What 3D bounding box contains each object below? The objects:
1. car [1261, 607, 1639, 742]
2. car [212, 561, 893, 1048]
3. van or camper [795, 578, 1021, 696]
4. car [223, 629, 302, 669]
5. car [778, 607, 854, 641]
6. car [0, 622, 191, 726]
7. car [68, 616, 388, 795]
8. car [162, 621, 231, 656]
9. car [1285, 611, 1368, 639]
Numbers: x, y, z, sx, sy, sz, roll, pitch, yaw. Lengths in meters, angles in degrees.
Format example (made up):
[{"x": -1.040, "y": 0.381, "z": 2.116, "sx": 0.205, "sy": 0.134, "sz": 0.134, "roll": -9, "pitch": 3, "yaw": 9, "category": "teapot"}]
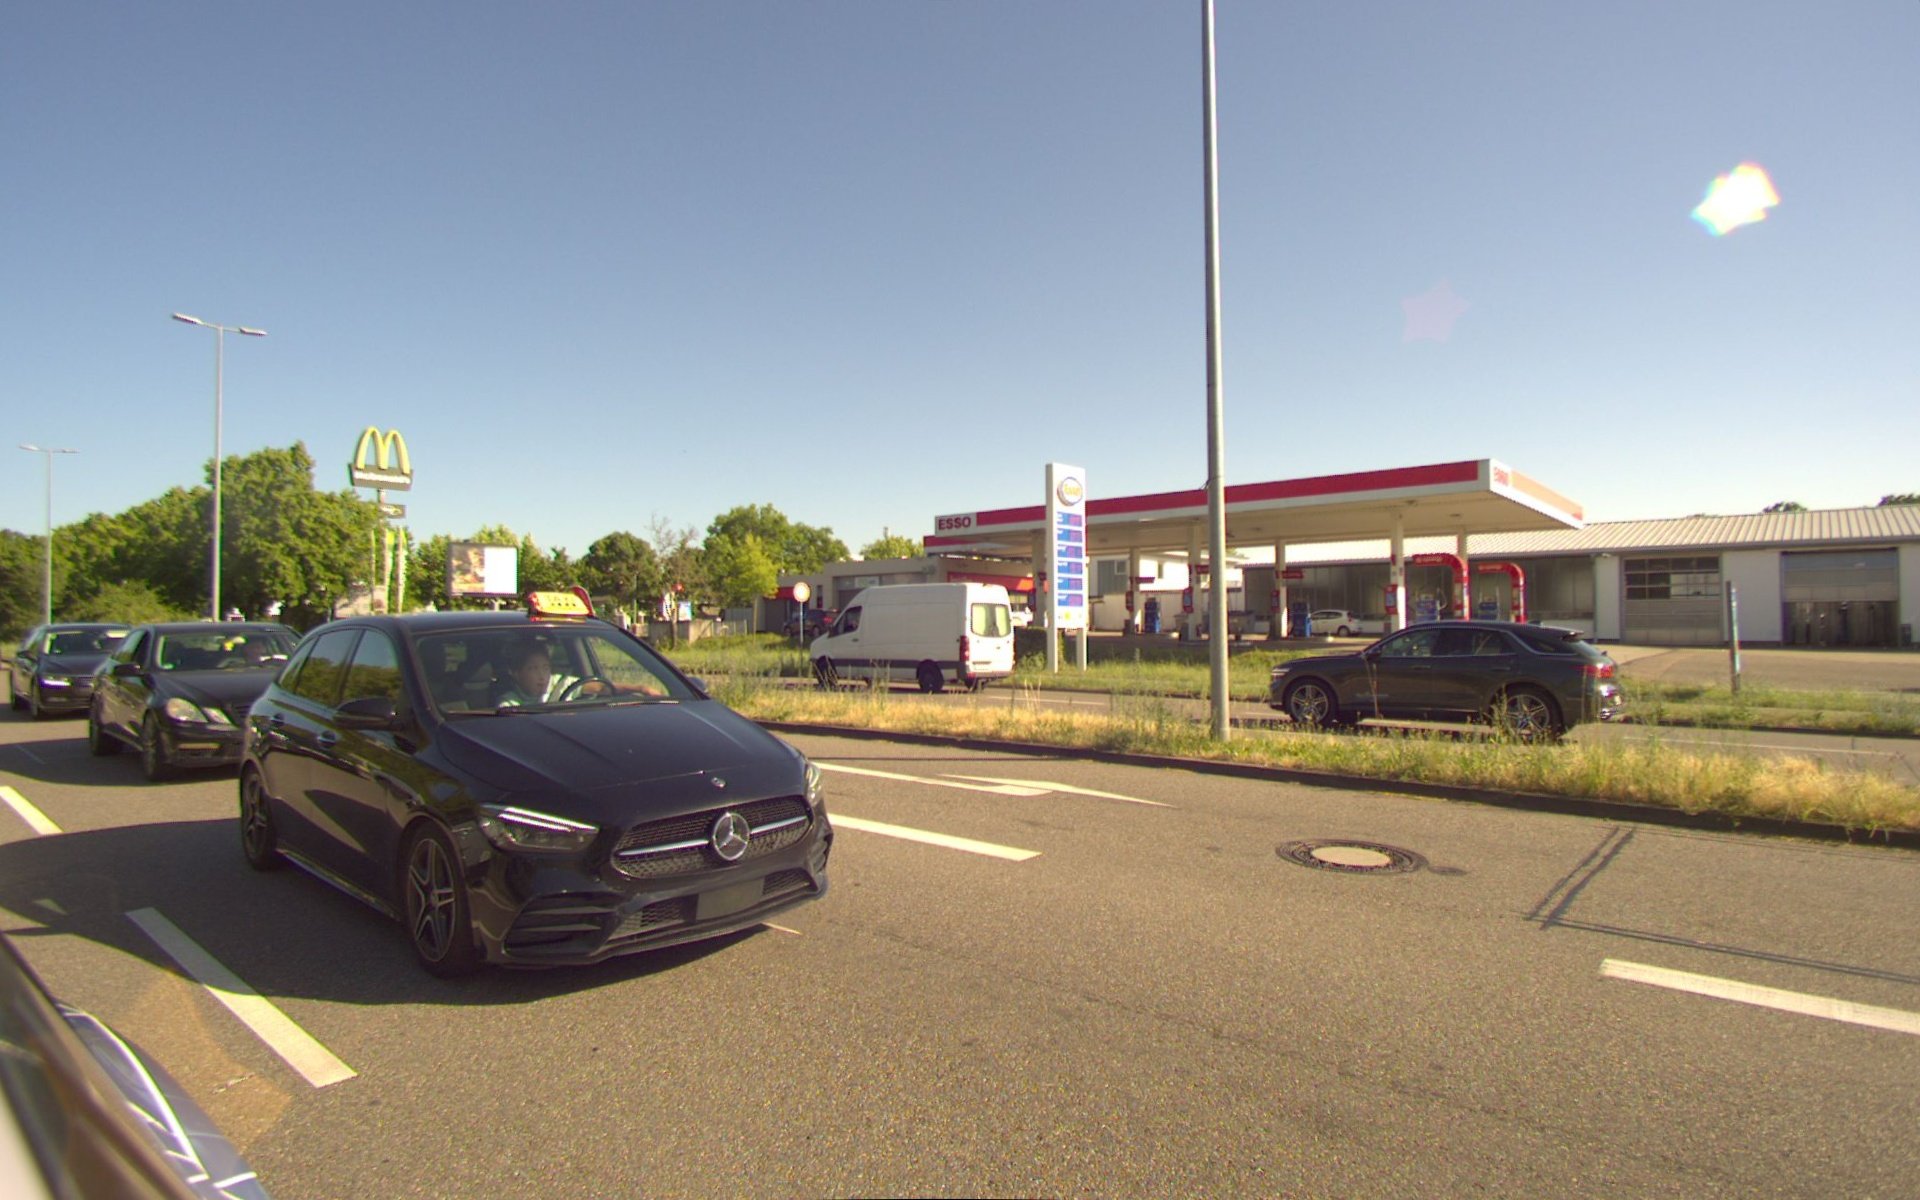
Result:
[{"x": 6.977, "y": 1.023, "z": 14.704, "sx": 4.609, "sy": 1.666, "sz": 1.973, "roll": -2, "pitch": -4, "yaw": 40, "category": "car"}, {"x": -2.462, "y": 0.743, "z": 5.497, "sx": 4.187, "sy": 1.638, "sz": 1.780, "roll": -2, "pitch": -2, "yaw": 42, "category": "car"}, {"x": -1.430, "y": 0.952, "z": 25.605, "sx": 5.952, "sy": 2.671, "sz": 1.973, "roll": -1, "pitch": -4, "yaw": 40, "category": "van or camper"}, {"x": -31.735, "y": 2.191, "z": 46.006, "sx": 4.433, "sy": 1.703, "sz": 1.860, "roll": -2, "pitch": -2, "yaw": 41, "category": "car"}, {"x": -7.859, "y": 1.310, "z": 55.065, "sx": 4.117, "sy": 1.783, "sz": 1.972, "roll": -2, "pitch": -2, "yaw": 43, "category": "car"}, {"x": -14.430, "y": 1.133, "z": 16.774, "sx": 4.401, "sy": 1.492, "sz": 1.838, "roll": -2, "pitch": -2, "yaw": 41, "category": "car"}, {"x": -7.947, "y": 0.960, "z": 10.829, "sx": 4.401, "sy": 1.535, "sz": 1.838, "roll": -2, "pitch": -2, "yaw": 41, "category": "car"}, {"x": -46.330, "y": 2.332, "z": 61.367, "sx": 5.018, "sy": 2.029, "sz": 1.975, "roll": -1, "pitch": -3, "yaw": 37, "category": "car"}, {"x": 19.843, "y": 1.353, "z": 54.871, "sx": 3.844, "sy": 1.450, "sz": 1.730, "roll": -2, "pitch": -2, "yaw": 39, "category": "car"}]
